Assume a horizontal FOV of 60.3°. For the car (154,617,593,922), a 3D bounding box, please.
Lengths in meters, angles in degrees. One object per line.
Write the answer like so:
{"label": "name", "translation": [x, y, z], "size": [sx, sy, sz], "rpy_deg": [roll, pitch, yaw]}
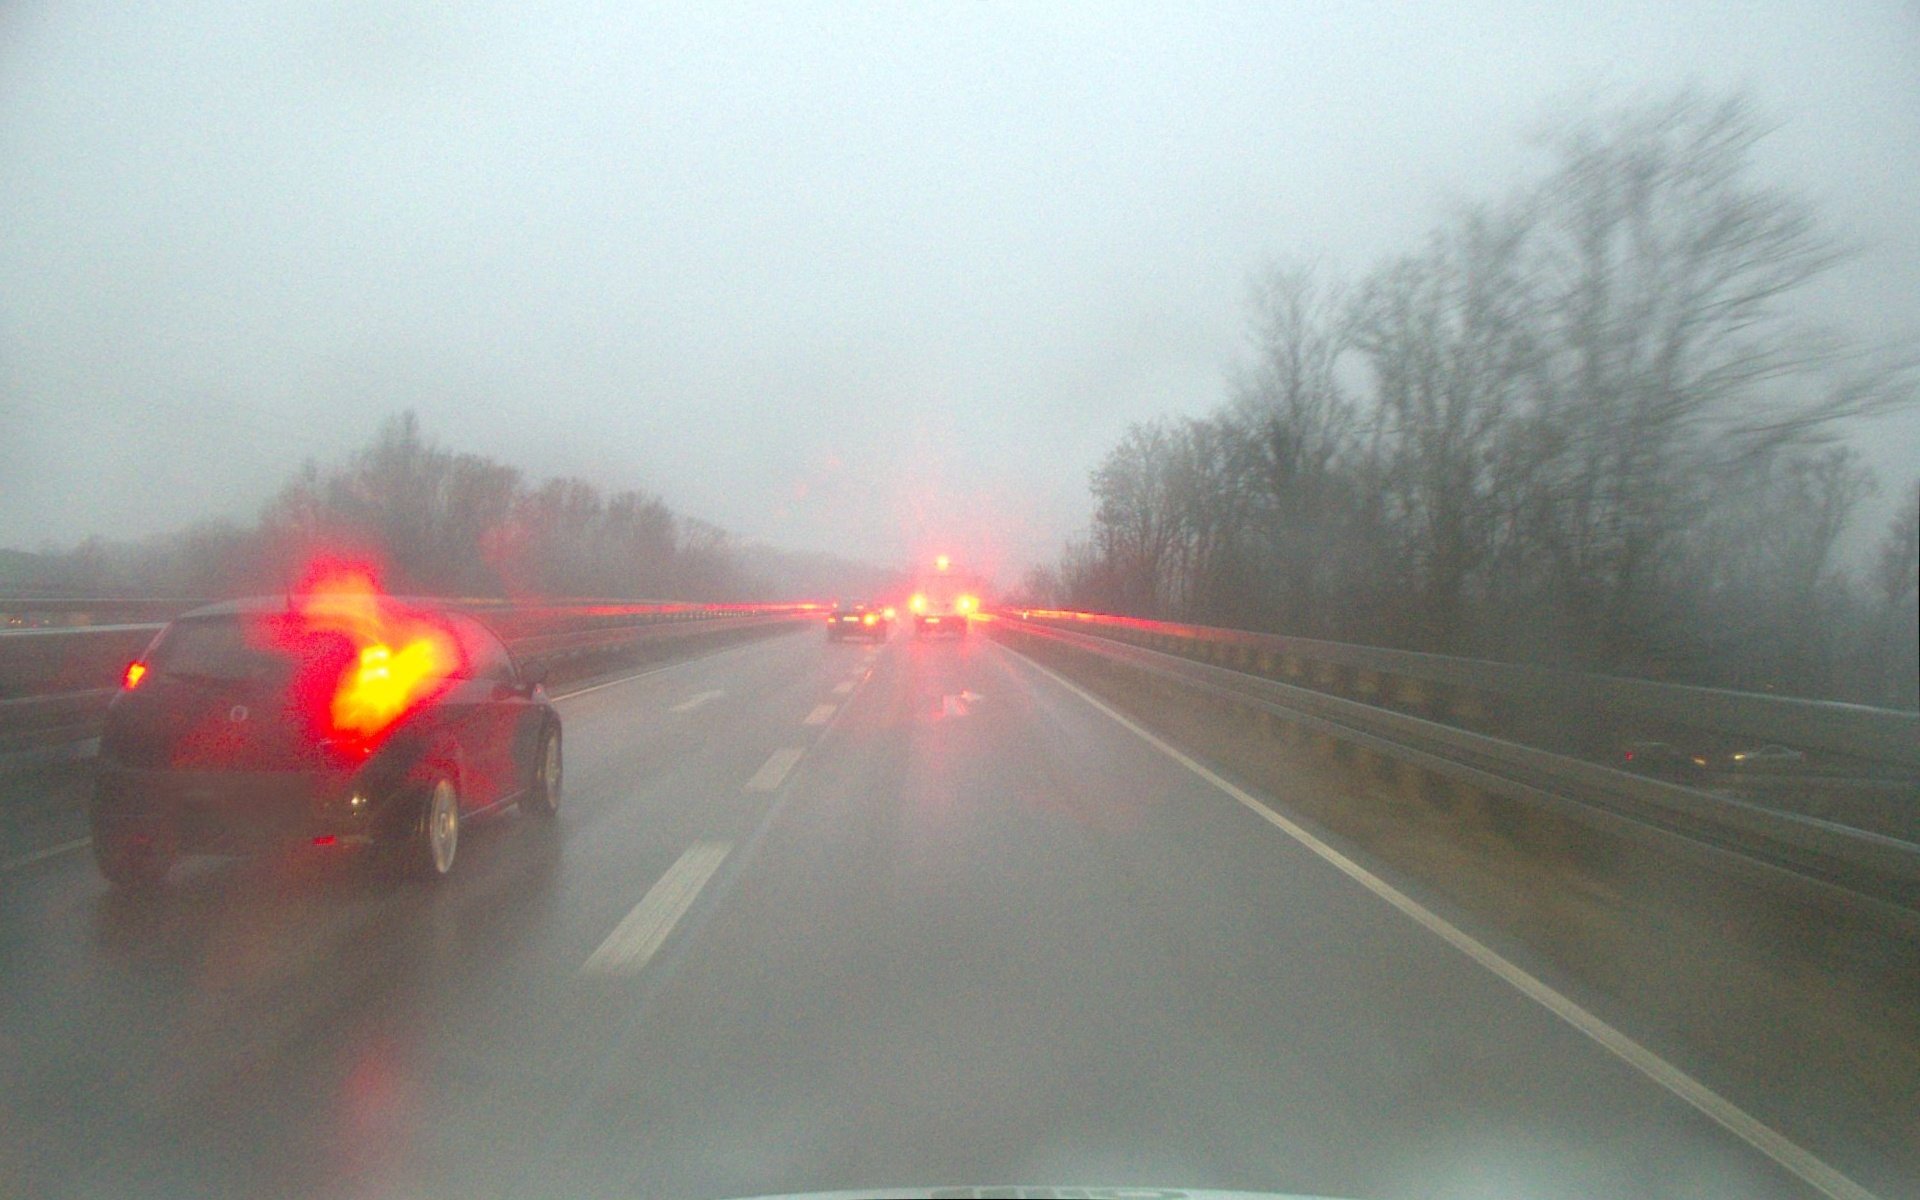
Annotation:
{"label": "car", "translation": [-3.299, 0.886, 10.069], "size": [1.594, 1.416, 3.994], "rpy_deg": [-2, -2, -6]}

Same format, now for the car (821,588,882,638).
{"label": "car", "translation": [-3.612, 0.474, 55.576], "size": [1.797, 1.564, 3.998], "rpy_deg": [1, -2, -1]}

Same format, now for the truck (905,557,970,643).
{"label": "truck", "translation": [-0.856, 0.052, 62.251], "size": [2.334, 2.960, 4.672], "rpy_deg": [0, -3, -1]}
